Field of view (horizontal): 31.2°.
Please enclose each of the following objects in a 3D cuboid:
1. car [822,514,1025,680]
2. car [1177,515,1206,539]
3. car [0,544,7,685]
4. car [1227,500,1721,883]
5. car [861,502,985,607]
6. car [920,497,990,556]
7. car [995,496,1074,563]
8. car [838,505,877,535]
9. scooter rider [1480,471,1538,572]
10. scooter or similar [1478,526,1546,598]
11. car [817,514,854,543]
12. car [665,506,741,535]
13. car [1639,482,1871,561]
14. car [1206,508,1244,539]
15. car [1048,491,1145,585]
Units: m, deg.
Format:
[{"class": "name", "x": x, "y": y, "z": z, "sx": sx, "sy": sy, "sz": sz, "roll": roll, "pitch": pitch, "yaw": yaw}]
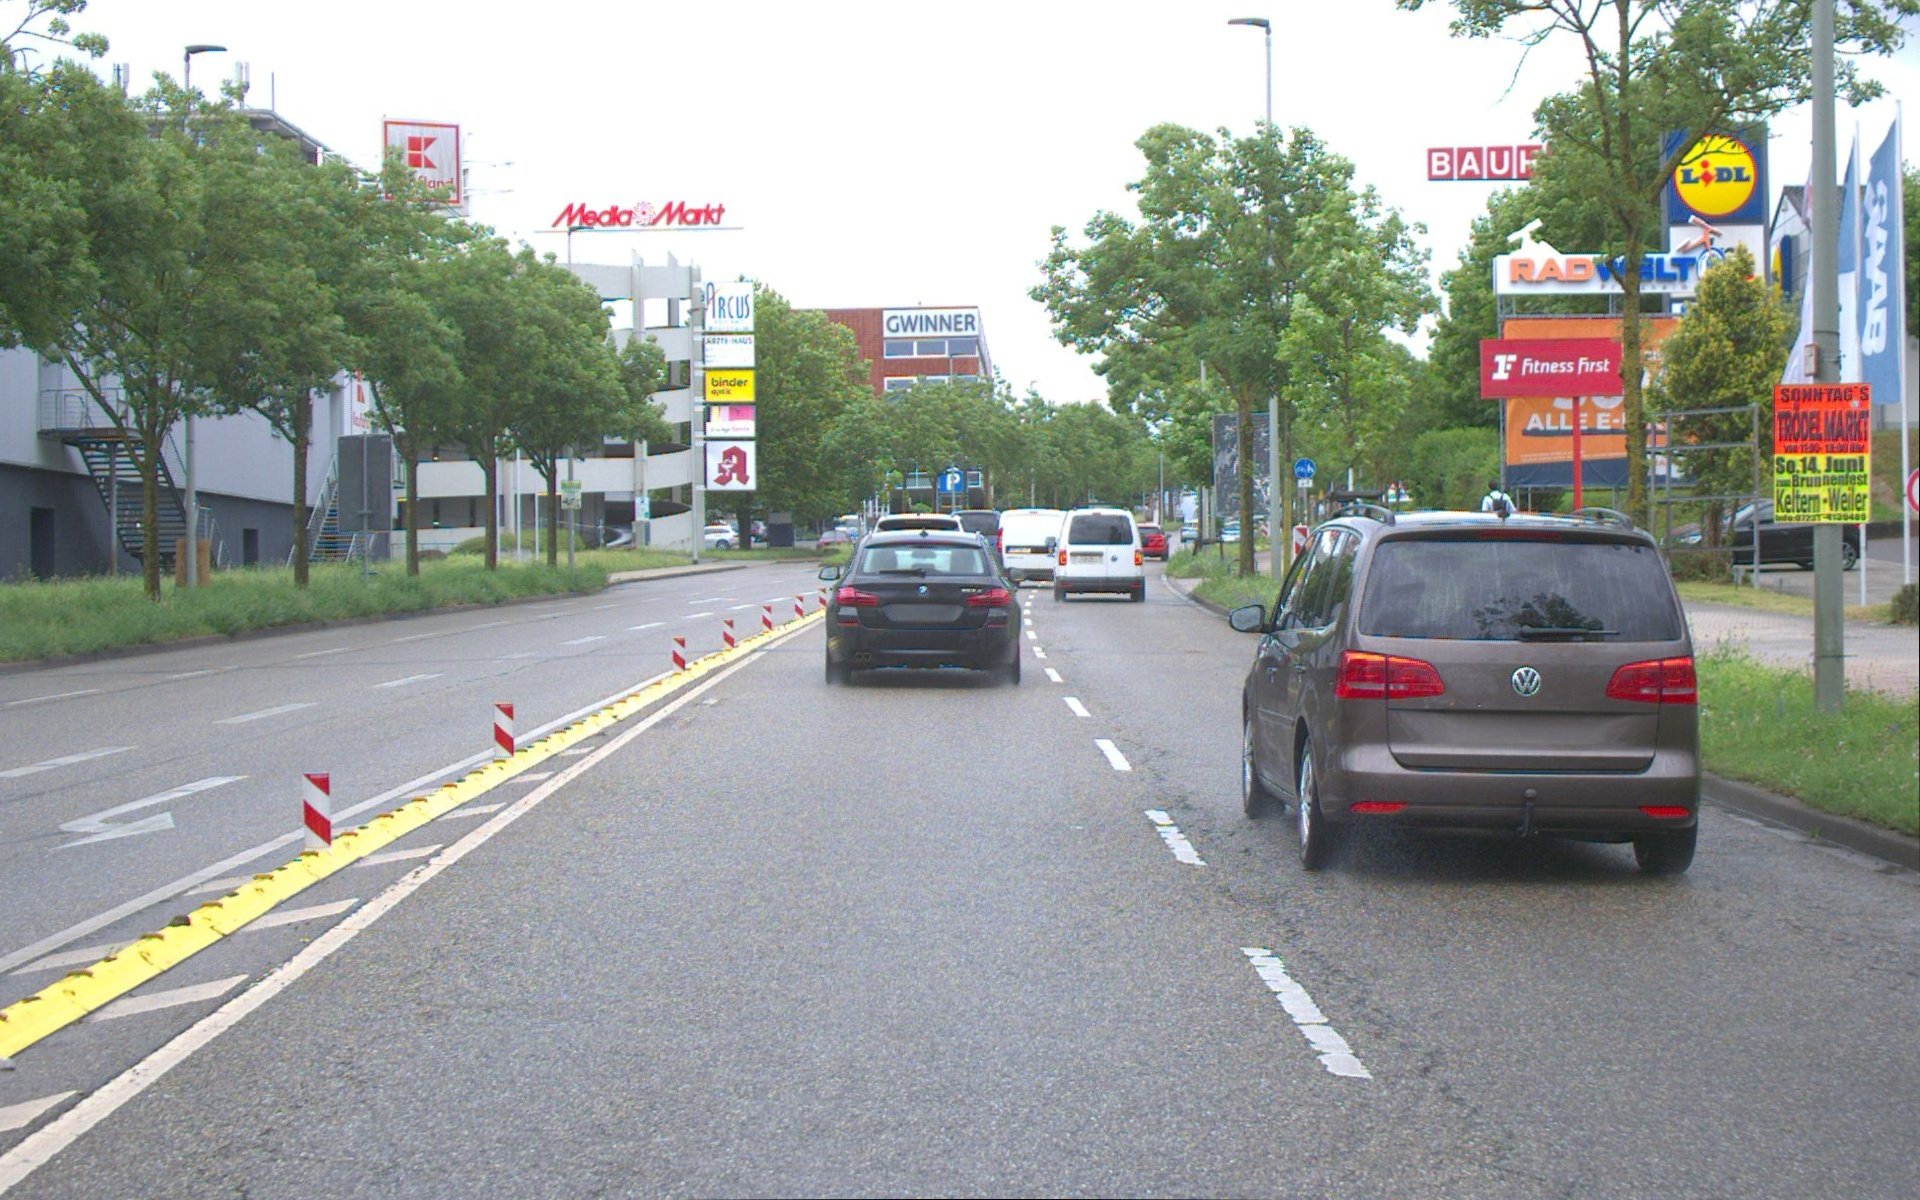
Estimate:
[{"class": "car", "x": -0.345, "y": -0.078, "z": 33.463, "sx": 1.827, "sy": 1.463, "sz": 4.000, "roll": 1, "pitch": 2, "yaw": 0}, {"class": "car", "x": 15.081, "y": -4.770, "z": 224.167, "sx": 1.794, "sy": 1.505, "sz": 4.000, "roll": 1, "pitch": 1, "yaw": 3}, {"class": "car", "x": -10.474, "y": 0.223, "z": 32.145, "sx": 1.741, "sy": 1.401, "sz": 4.469, "roll": -2, "pitch": 1, "yaw": 1}, {"class": "car", "x": 2.317, "y": 0.336, "z": 16.516, "sx": 1.685, "sy": 1.575, "sz": 4.219, "roll": 1, "pitch": 1, "yaw": 0}, {"class": "car", "x": -0.527, "y": -0.704, "z": 52.304, "sx": 1.794, "sy": 1.505, "sz": 4.000, "roll": 1, "pitch": 1, "yaw": 0}, {"class": "car", "x": -0.129, "y": -1.955, "z": 91.817, "sx": 1.794, "sy": 1.505, "sz": 4.000, "roll": 1, "pitch": 1, "yaw": 0}, {"class": "car", "x": 1.751, "y": -1.659, "z": 80.921, "sx": 1.794, "sy": 1.505, "sz": 4.000, "roll": 1, "pitch": 1, "yaw": 1}, {"class": "car", "x": -6.666, "y": -5.207, "z": 223.435, "sx": 2.039, "sy": 1.756, "sz": 4.946, "roll": 0, "pitch": 3, "yaw": 4}, {"class": "scooter rider", "x": 10.086, "y": -1.450, "z": 63.196, "sx": 0.694, "sy": 1.814, "sz": 0.858, "roll": -3, "pitch": 2, "yaw": -13}, {"class": "scooter or similar", "x": 10.135, "y": -0.709, "z": 63.175, "sx": 0.694, "sy": 1.259, "sz": 1.401, "roll": -3, "pitch": 2, "yaw": -13}, {"class": "car", "x": -7.562, "y": -4.377, "z": 209.045, "sx": 1.933, "sy": 1.603, "sz": 4.711, "roll": 0, "pitch": 3, "yaw": 2}, {"class": "car", "x": -16.030, "y": -4.941, "z": 214.454, "sx": 4.598, "sy": 1.739, "sz": 1.967, "roll": 0, "pitch": 3, "yaw": -1}, {"class": "car", "x": 15.699, "y": -1.566, "z": 67.961, "sx": 4.089, "sy": 1.433, "sz": 1.798, "roll": -1, "pitch": 4, "yaw": -12}, {"class": "car", "x": 13.376, "y": -3.868, "z": 173.635, "sx": 1.794, "sy": 1.505, "sz": 4.000, "roll": 1, "pitch": 1, "yaw": 3}, {"class": "car", "x": 2.672, "y": -1.247, "z": 67.612, "sx": 1.827, "sy": 1.753, "sz": 4.000, "roll": 1, "pitch": 2, "yaw": 2}]
